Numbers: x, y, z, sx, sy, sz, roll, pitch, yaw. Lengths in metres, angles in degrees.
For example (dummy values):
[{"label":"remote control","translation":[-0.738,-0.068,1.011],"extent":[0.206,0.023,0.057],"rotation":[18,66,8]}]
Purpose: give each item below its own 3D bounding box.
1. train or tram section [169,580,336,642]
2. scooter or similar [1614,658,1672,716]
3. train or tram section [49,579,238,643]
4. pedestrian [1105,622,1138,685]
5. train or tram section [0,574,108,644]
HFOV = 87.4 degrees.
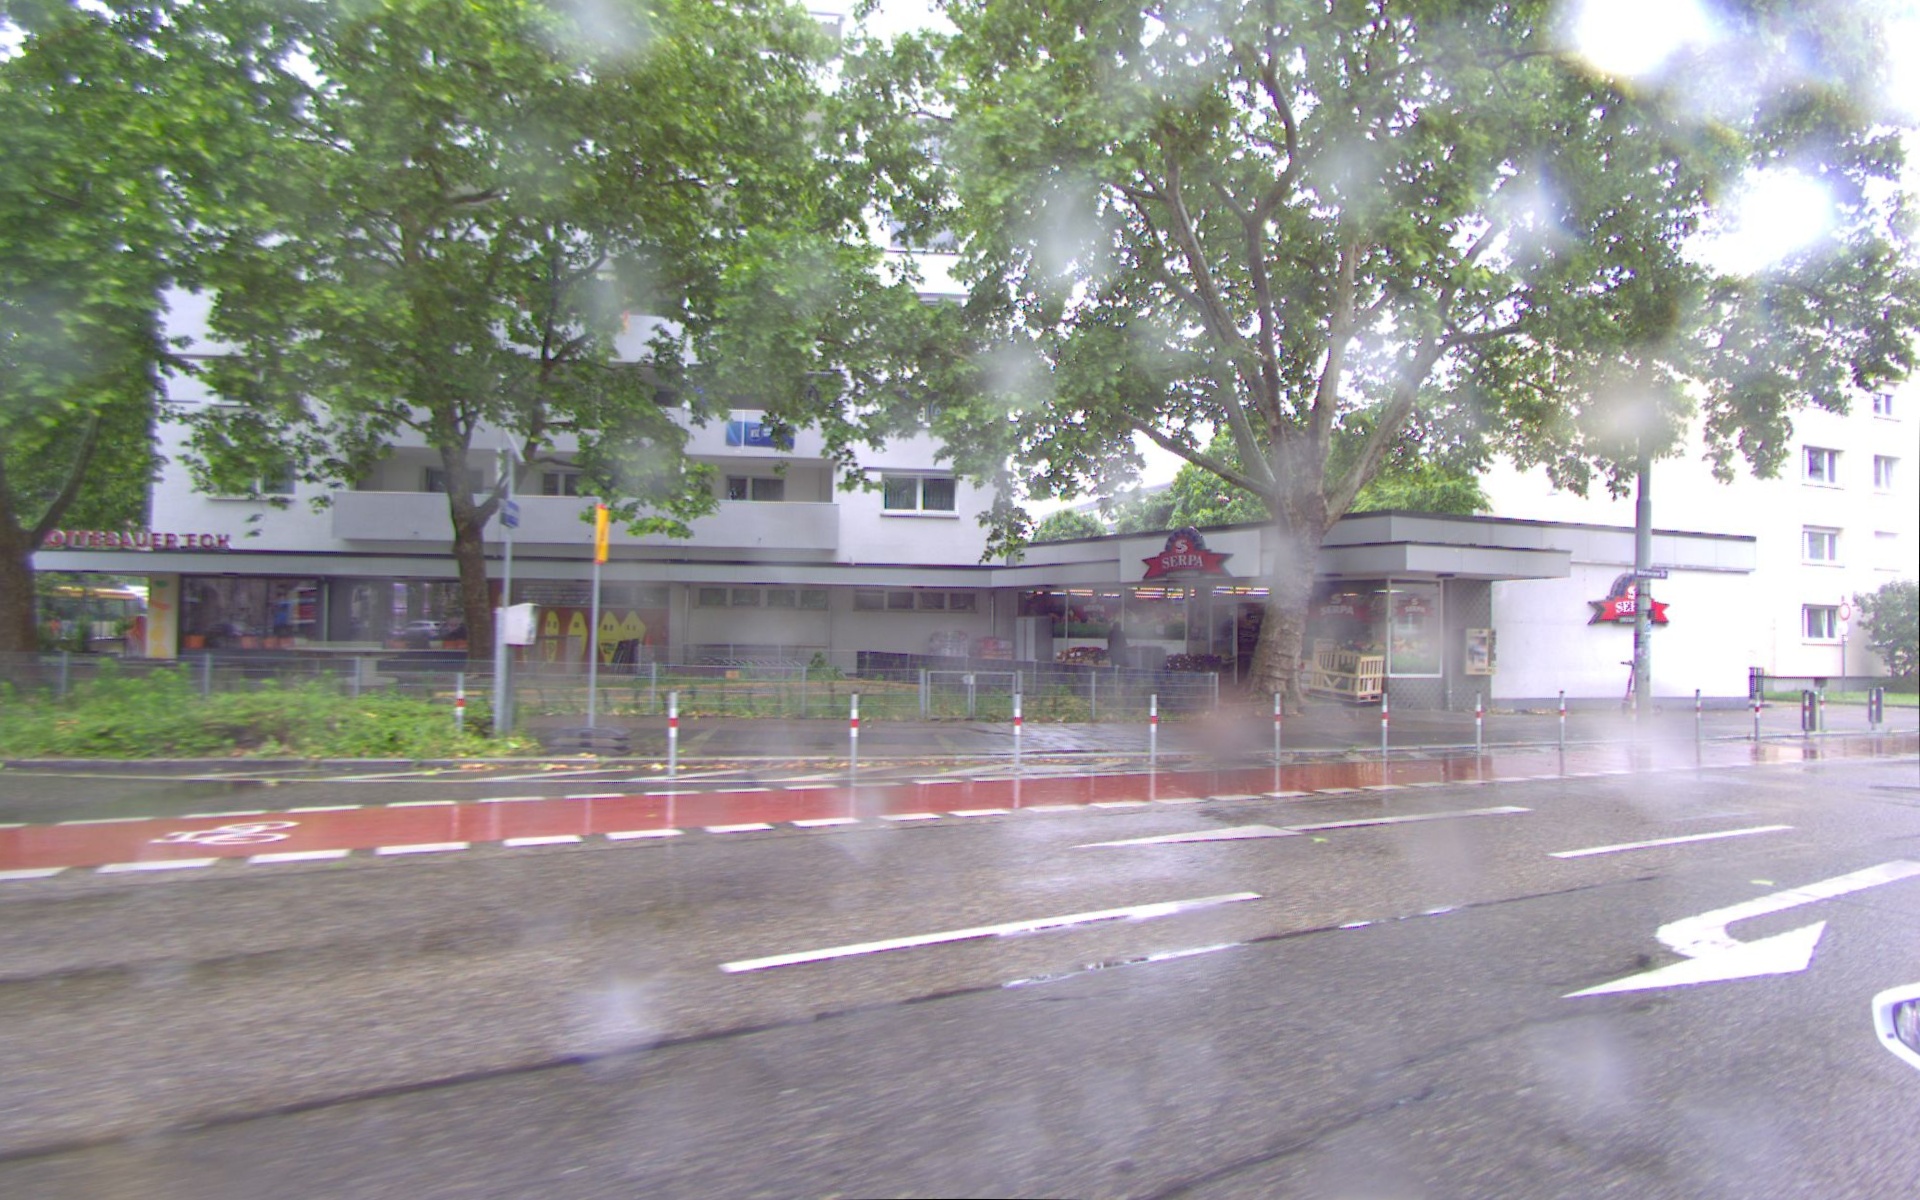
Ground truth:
[{"label":"train or tram section","translation":[-44.724,0.878,64.182],"extent":[3.014,3.550,11.573],"rotation":[1,-2,-4]},{"label":"scooter or similar","translation":[15.673,1.993,23.050],"extent":[1.355,1.282,0.437],"rotation":[2,-2,-22]},{"label":"train or tram section","translation":[-50.899,0.857,63.315],"extent":[3.014,3.550,11.573],"rotation":[1,-2,-4]},{"label":"pedestrian","translation":[4.304,1.423,26.796],"extent":[0.637,1.650,0.564],"rotation":[3,-2,-43]},{"label":"train or tram section","translation":[-50.073,0.457,51.767],"extent":[3.014,3.550,11.573],"rotation":[1,-2,-4]}]
